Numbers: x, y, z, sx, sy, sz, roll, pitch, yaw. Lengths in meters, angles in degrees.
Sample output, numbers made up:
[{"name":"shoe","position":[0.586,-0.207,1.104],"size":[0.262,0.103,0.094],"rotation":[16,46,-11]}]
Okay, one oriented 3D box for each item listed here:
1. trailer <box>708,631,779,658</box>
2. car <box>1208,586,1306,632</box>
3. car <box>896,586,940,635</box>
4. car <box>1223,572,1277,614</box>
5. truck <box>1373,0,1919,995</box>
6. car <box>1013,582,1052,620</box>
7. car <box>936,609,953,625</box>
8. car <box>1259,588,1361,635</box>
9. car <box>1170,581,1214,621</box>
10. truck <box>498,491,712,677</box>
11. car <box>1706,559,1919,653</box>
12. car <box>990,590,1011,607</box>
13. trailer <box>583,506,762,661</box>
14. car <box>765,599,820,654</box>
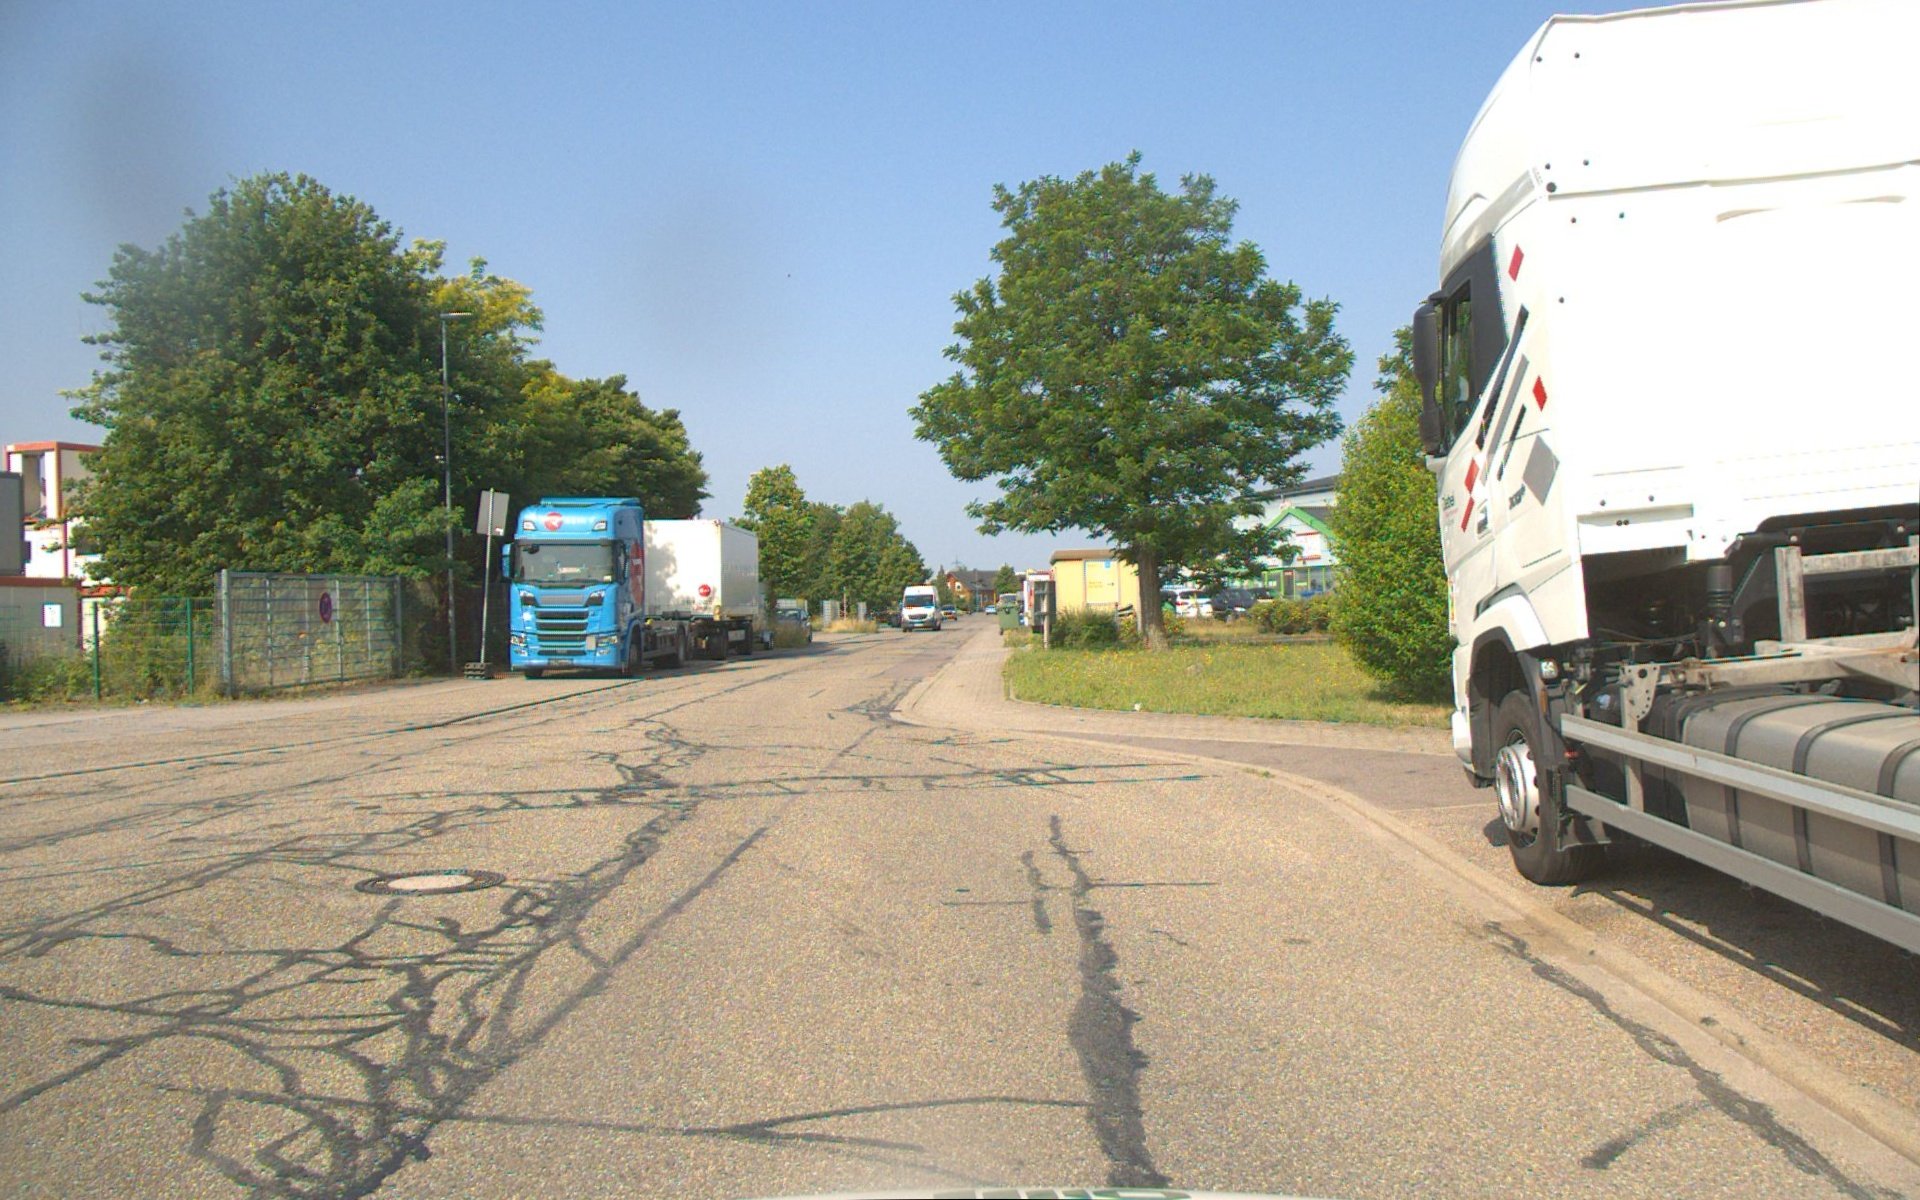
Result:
[{"name":"trailer","position":[-7.469,1.533,57.440],"size":[1.857,0.774,4.000],"rotation":[-2,0,1]},{"name":"car","position":[9.232,0.305,51.649],"size":[1.640,1.353,3.649],"rotation":[0,-1,-14]},{"name":"car","position":[-2.473,0.648,95.362],"size":[2.171,2.733,6.846],"rotation":[0,-1,-4]},{"name":"car","position":[12.321,-0.266,70.433],"size":[1.755,1.669,4.001],"rotation":[0,-1,2]},{"name":"truck","position":[3.944,-0.676,8.049],"size":[2.689,4.050,4.001],"rotation":[-4,0,2]},{"name":"car","position":[3.469,0.080,79.722],"size":[1.755,1.780,4.000],"rotation":[0,-1,1]},{"name":"car","position":[-1.638,1.791,174.889],"size":[1.607,1.691,3.996],"rotation":[0,-1,-4]},{"name":"car","position":[10.970,0.381,52.053],"size":[1.719,1.397,3.649],"rotation":[0,-1,-14]},{"name":"car","position":[9.913,0.078,70.905],"size":[1.681,1.646,4.002],"rotation":[0,-1,5]},{"name":"truck","position":[-8.157,-0.247,39.448],"size":[2.767,3.893,9.673],"rotation":[0,-1,1]},{"name":"car","position":[16.637,0.147,31.942],"size":[4.014,1.731,1.755],"rotation":[1,-1,-20]},{"name":"car","position":[4.453,-0.135,181.768],"size":[1.738,1.847,3.992],"rotation":[0,-1,-8]},{"name":"trailer","position":[-7.969,-0.315,47.699],"size":[2.772,3.910,12.037],"rotation":[0,-1,1]},{"name":"car","position":[-6.647,1.011,65.282],"size":[1.956,2.049,3.993],"rotation":[-1,0,-8]}]
